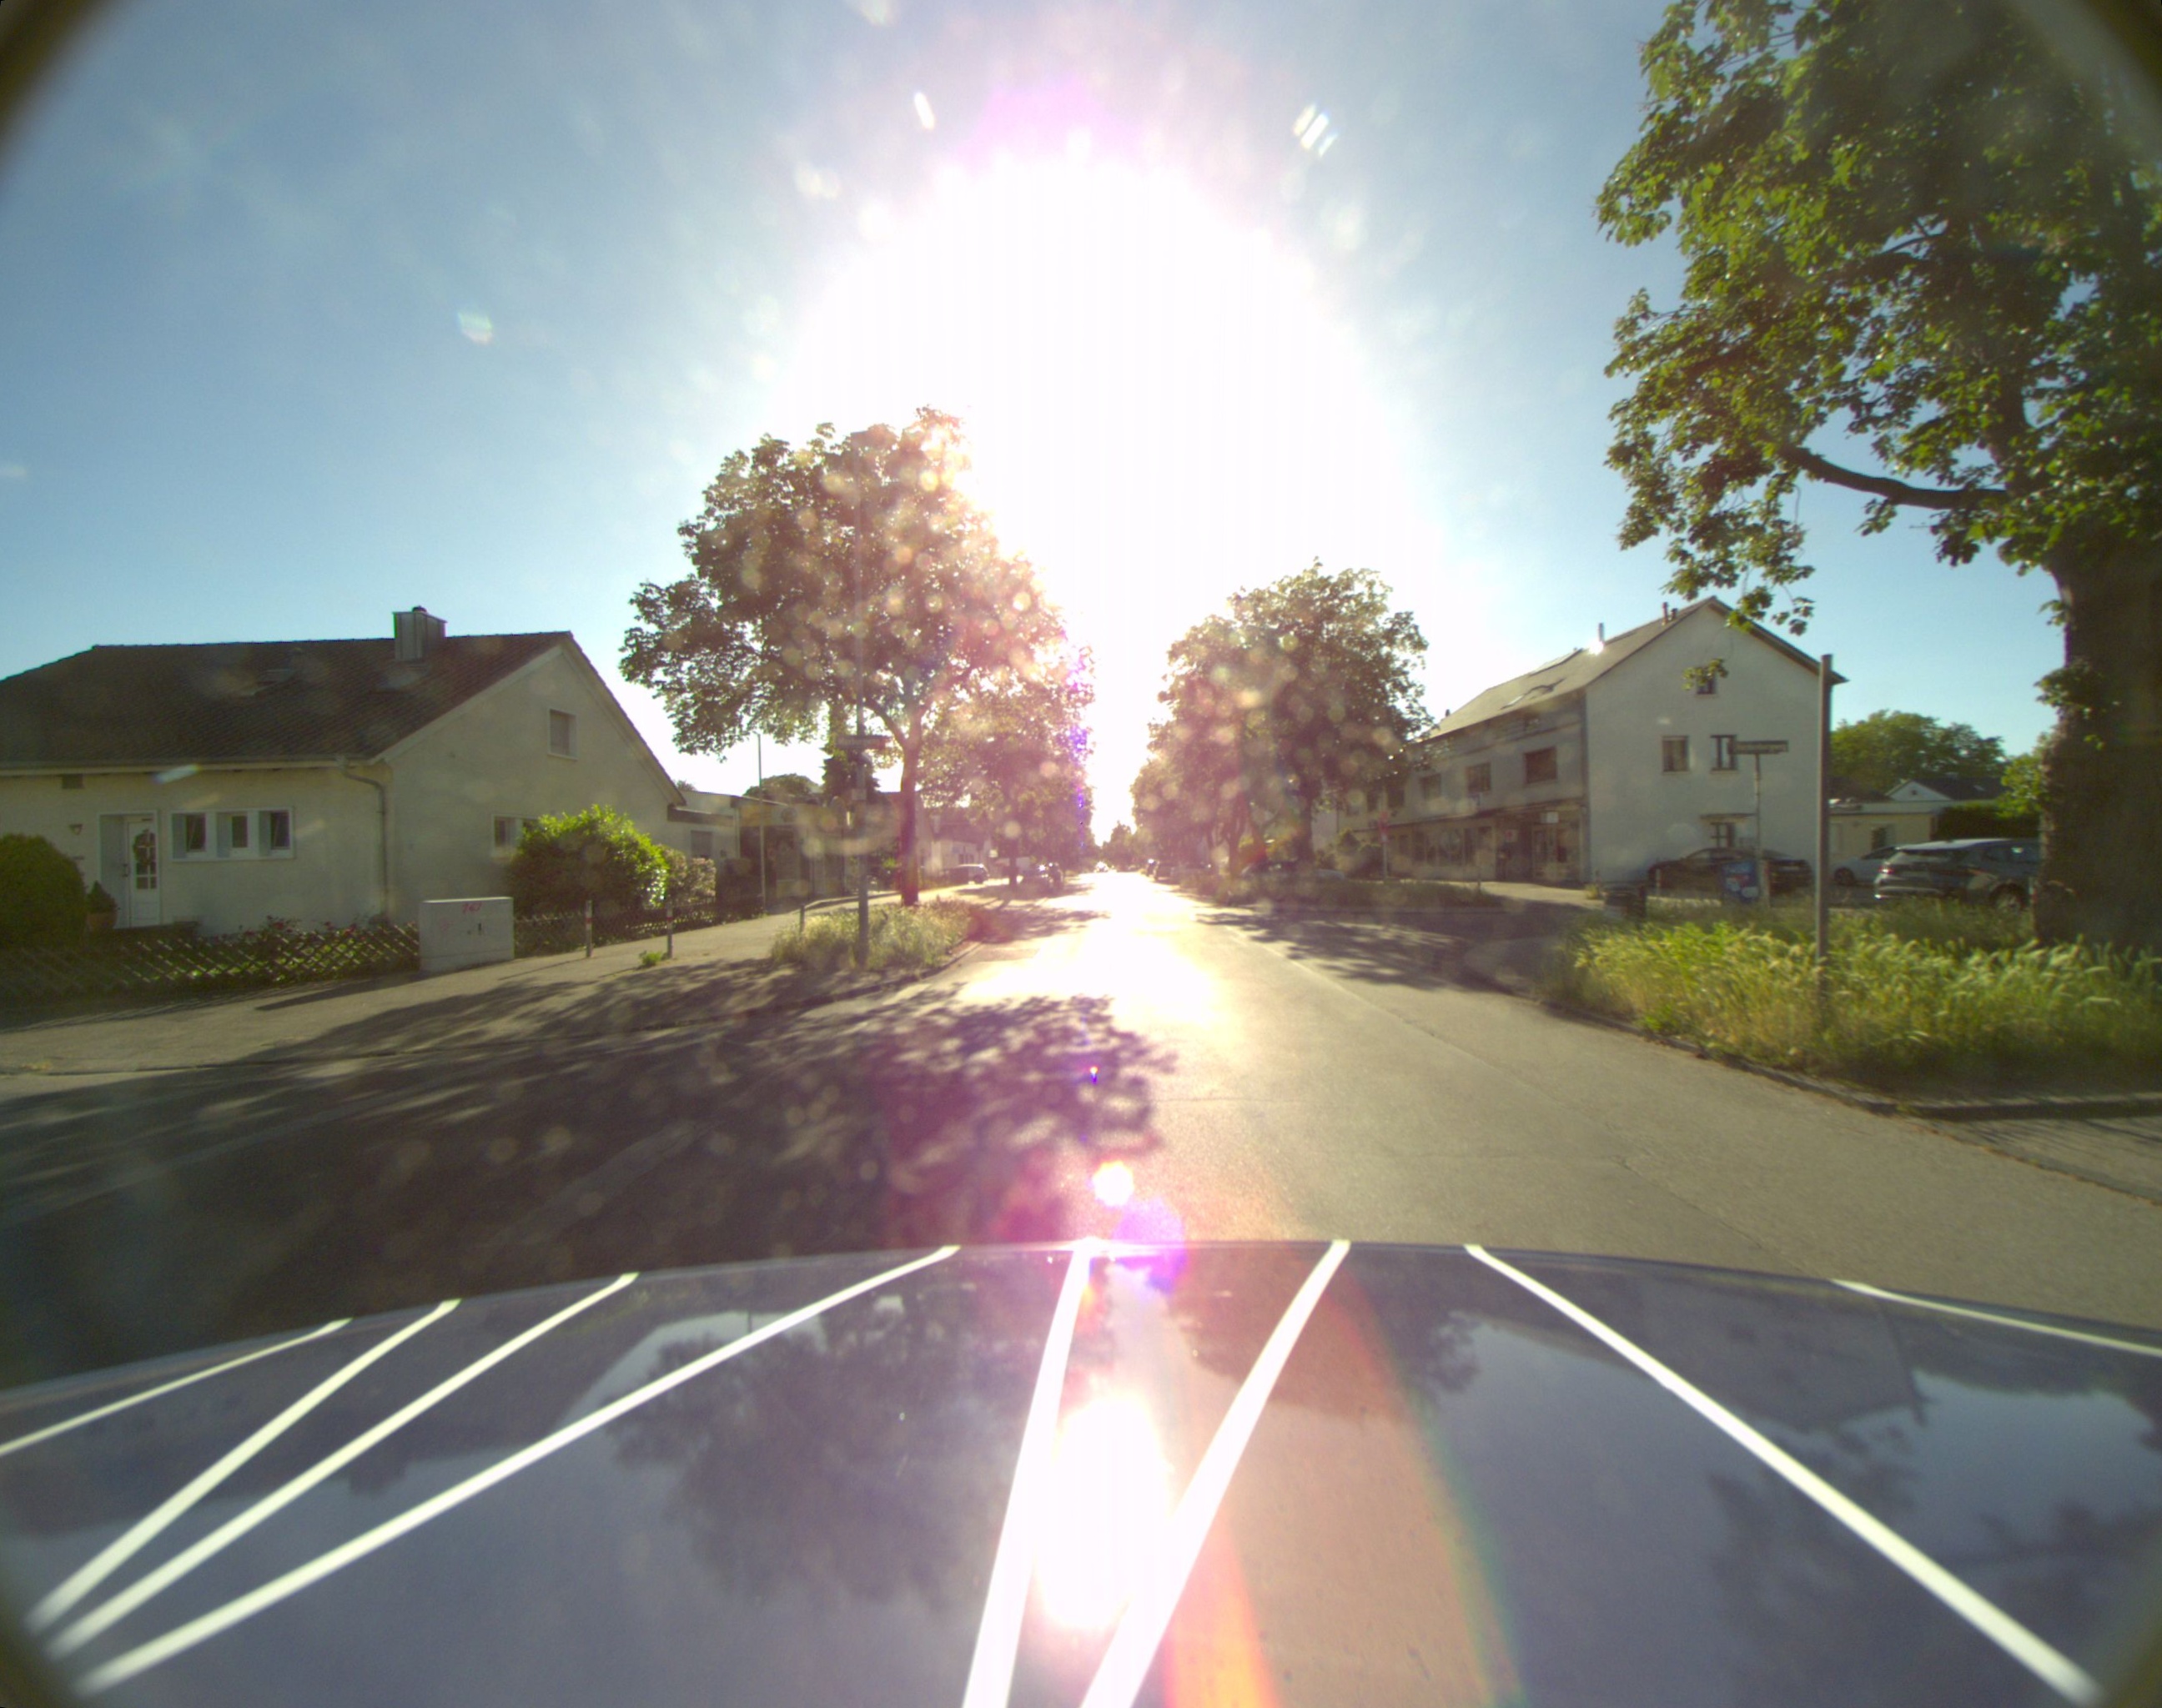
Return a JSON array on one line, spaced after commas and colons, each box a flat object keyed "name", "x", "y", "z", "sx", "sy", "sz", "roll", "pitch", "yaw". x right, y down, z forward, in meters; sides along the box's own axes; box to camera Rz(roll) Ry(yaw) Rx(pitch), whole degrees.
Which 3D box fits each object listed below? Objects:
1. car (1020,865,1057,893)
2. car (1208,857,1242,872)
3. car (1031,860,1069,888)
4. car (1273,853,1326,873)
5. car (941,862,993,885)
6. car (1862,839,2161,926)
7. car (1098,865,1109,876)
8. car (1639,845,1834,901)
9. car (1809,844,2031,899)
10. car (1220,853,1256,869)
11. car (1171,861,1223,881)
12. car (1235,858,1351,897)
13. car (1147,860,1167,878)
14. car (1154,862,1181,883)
[{"name": "car", "x": -2.353, "y": 1.370, "z": 42.805, "sx": 1.689, "sy": 1.413, "sz": 3.778, "roll": 0, "pitch": 0, "yaw": 2}, {"name": "car", "x": 19.204, "y": 1.345, "z": 101.475, "sx": 3.997, "sy": 1.674, "sz": 2.000, "roll": -5, "pitch": 0, "yaw": 1}, {"name": "car", "x": -1.958, "y": 1.243, "z": 49.203, "sx": 1.941, "sy": 1.684, "sz": 4.363, "roll": -2, "pitch": 0, "yaw": 4}, {"name": "car", "x": 17.128, "y": 0.714, "z": 59.738, "sx": 3.773, "sy": 1.556, "sz": 1.692, "roll": 0, "pitch": 1, "yaw": 5}, {"name": "car", "x": -8.676, "y": 1.468, "z": 58.055, "sx": 3.621, "sy": 1.431, "sz": 1.695, "roll": -5, "pitch": 0, "yaw": -1}, {"name": "car", "x": 19.018, "y": 0.544, "z": 15.654, "sx": 3.998, "sy": 1.628, "sz": 1.999, "roll": 0, "pitch": 0, "yaw": -4}, {"name": "car", "x": 3.575, "y": 2.642, "z": 121.555, "sx": 1.539, "sy": 1.582, "sz": 3.459, "roll": -5, "pitch": 0, "yaw": 4}, {"name": "car", "x": 21.220, "y": 0.525, "z": 24.962, "sx": 1.999, "sy": 1.554, "sz": 4.906, "roll": -1, "pitch": 2, "yaw": -3}, {"name": "car", "x": 26.871, "y": 0.478, "z": 24.634, "sx": 1.877, "sy": 1.519, "sz": 4.666, "roll": -1, "pitch": 2, "yaw": -3}, {"name": "car", "x": 19.291, "y": 0.841, "z": 93.486, "sx": 3.997, "sy": 1.674, "sz": 2.000, "roll": -5, "pitch": 0, "yaw": 1}, {"name": "car", "x": 9.111, "y": 1.337, "z": 59.939, "sx": 3.694, "sy": 1.315, "sz": 1.624, "roll": -4, "pitch": 0, "yaw": -4}, {"name": "car", "x": 9.072, "y": 0.984, "z": 32.717, "sx": 4.392, "sy": 1.407, "sz": 2.000, "roll": -3, "pitch": 0, "yaw": 1}, {"name": "car", "x": 7.564, "y": 1.509, "z": 76.227, "sx": 1.815, "sy": 1.722, "sz": 4.057, "roll": -2, "pitch": 0, "yaw": 4}, {"name": "car", "x": 7.348, "y": 1.517, "z": 64.914, "sx": 1.998, "sy": 1.530, "sz": 3.695, "roll": -5, "pitch": 0, "yaw": 4}]
